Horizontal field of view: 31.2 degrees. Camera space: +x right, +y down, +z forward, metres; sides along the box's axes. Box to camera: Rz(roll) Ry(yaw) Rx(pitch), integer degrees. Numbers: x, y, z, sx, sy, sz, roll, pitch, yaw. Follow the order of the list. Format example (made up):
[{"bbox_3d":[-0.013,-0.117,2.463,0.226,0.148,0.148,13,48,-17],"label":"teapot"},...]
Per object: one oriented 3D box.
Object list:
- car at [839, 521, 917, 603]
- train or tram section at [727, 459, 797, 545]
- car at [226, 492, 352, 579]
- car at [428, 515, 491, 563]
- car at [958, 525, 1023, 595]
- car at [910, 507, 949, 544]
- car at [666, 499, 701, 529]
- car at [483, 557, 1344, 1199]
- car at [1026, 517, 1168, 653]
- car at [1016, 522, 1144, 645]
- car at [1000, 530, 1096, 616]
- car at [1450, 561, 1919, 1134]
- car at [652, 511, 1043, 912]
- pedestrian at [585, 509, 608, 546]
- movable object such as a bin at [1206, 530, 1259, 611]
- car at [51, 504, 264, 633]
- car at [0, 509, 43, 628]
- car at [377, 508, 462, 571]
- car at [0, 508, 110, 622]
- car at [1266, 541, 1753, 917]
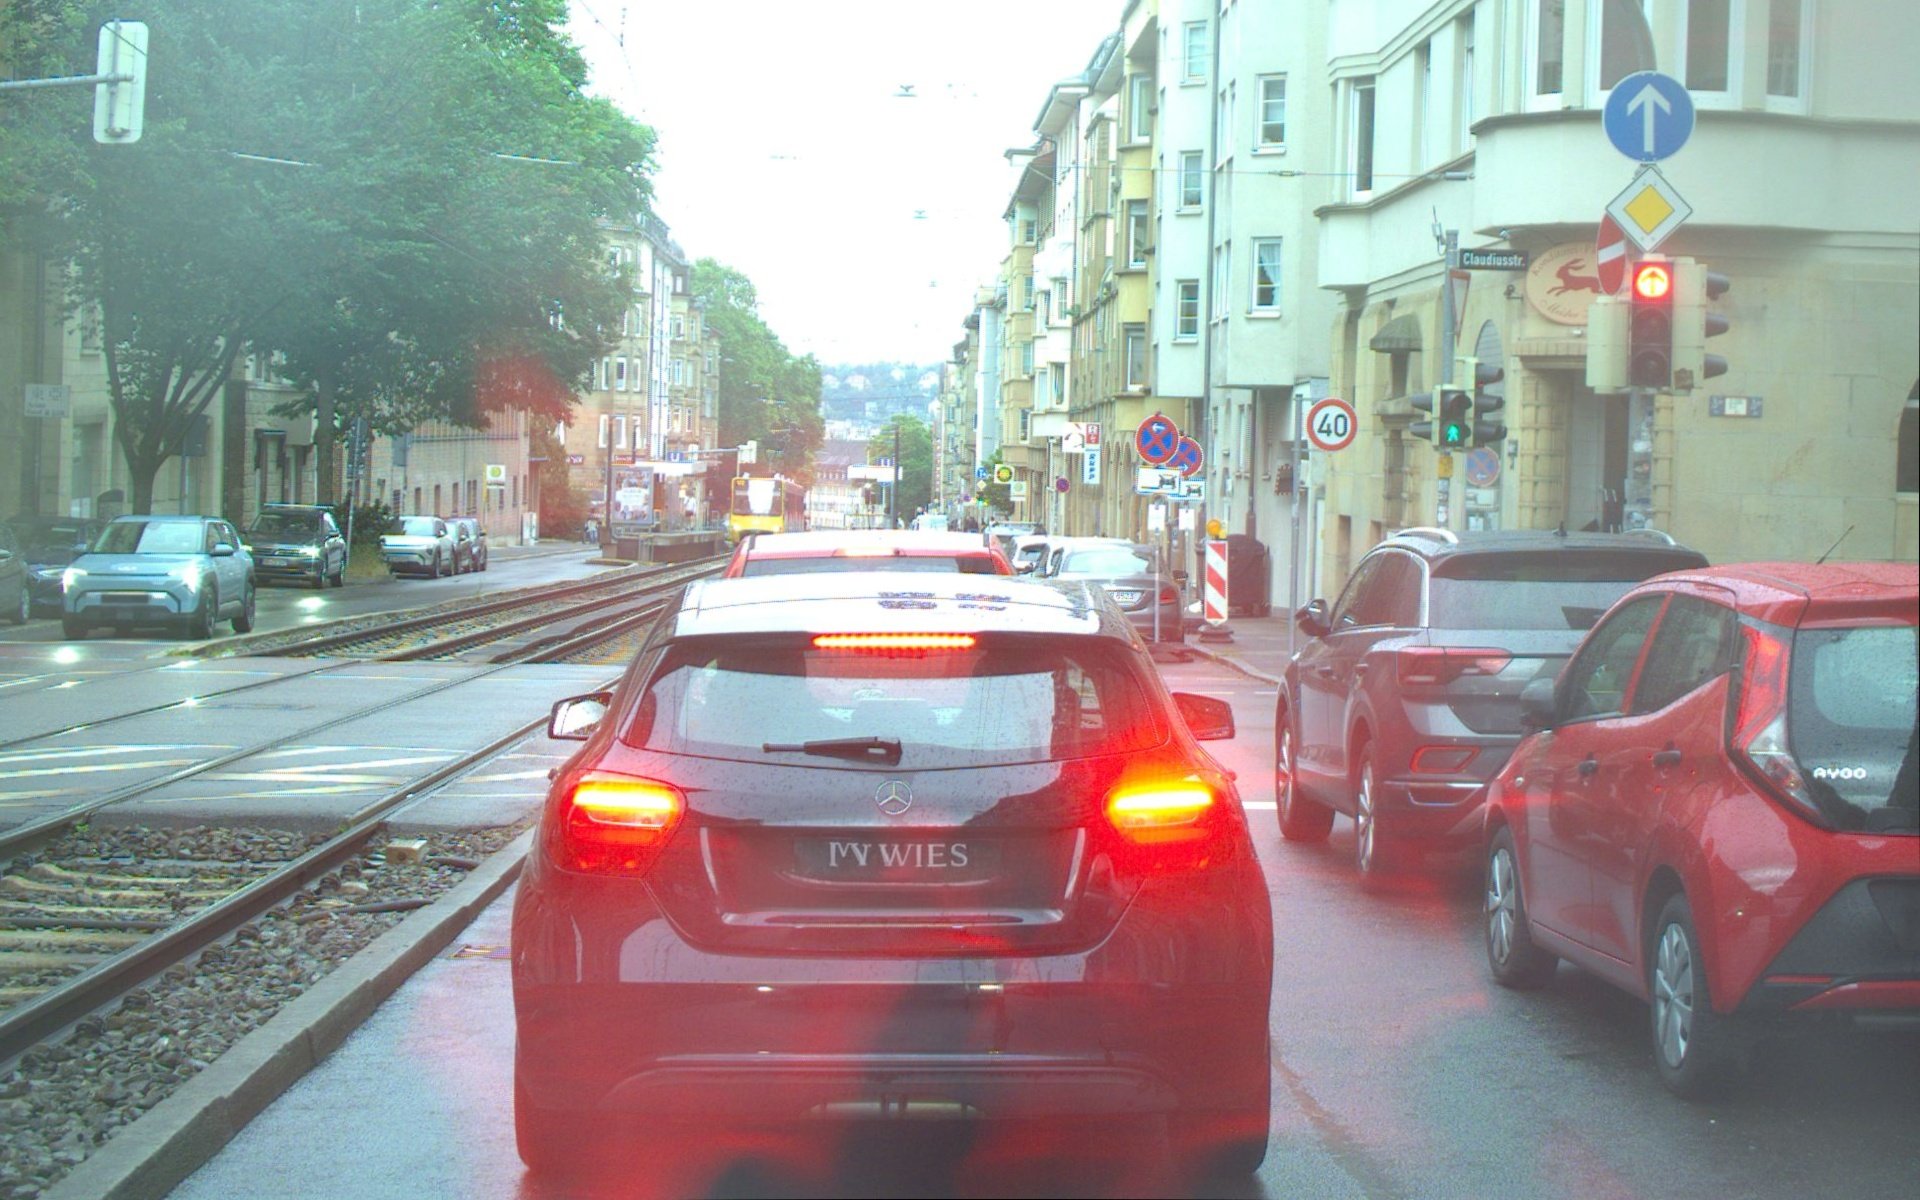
[{"bbox_3d":[-1.680,-0.796,70.808,1.544,1.630,3.686,1,1,-1],"label":"car"},{"bbox_3d":[-9.380,-4.594,163.963,2.783,3.847,10.430,1,0,-1],"label":"train or tram section"},{"bbox_3d":[-13.959,-1.325,71.703,1.875,1.731,3.918,1,0,-1],"label":"car"},{"bbox_3d":[-14.340,-1.730,98.575,1.448,1.326,3.272,1,0,-2],"label":"car"},{"bbox_3d":[0.633,-0.861,73.595,1.294,1.437,2.929,1,1,-1],"label":"car"},{"bbox_3d":[-1.617,-3.956,182.373,1.993,1.870,4.000,1,0,-1],"label":"car"},{"bbox_3d":[-12.344,-3.826,153.506,1.377,1.245,3.298,1,0,-2],"label":"car"},{"bbox_3d":[-0.127,0.637,9.459,1.829,1.453,4.104,1,1,-1],"label":"car"},{"bbox_3d":[1.667,-0.212,42.642,1.544,1.585,3.548,1,1,-1],"label":"car"},{"bbox_3d":[1.611,-0.249,47.117,1.544,1.585,3.548,1,1,-1],"label":"car"},{"bbox_3d":[1.552,-0.503,61.527,1.544,1.481,3.548,1,1,-1],"label":"car"},{"bbox_3d":[2.649,0.630,10.527,1.642,1.443,3.299,1,1,-3],"label":"car"},{"bbox_3d":[-0.480,0.435,15.845,1.565,1.604,3.814,1,0,-1],"label":"car"},{"bbox_3d":[-19.406,-3.873,183.726,1.053,1.951,1.043,2,1,1],"label":"pedestrian"},{"bbox_3d":[4.710,-0.507,59.574,0.878,1.384,0.982,1,0,3],"label":"movable object such as a bin"},{"bbox_3d":[-10.460,-0.414,45.080,1.898,1.582,3.973,1,0,-1],"label":"car"},{"bbox_3d":[-13.485,-0.430,45.694,1.752,1.547,4.036,1,0,-4],"label":"car"},{"bbox_3d":[-13.997,-1.543,89.166,1.589,1.575,3.918,1,0,-1],"label":"car"},{"bbox_3d":[-13.737,-0.519,50.724,1.716,1.605,3.919,1,0,-5],"label":"car"},{"bbox_3d":[2.385,0.487,15.765,1.544,1.481,3.830,1,1,-1],"label":"car"}]
